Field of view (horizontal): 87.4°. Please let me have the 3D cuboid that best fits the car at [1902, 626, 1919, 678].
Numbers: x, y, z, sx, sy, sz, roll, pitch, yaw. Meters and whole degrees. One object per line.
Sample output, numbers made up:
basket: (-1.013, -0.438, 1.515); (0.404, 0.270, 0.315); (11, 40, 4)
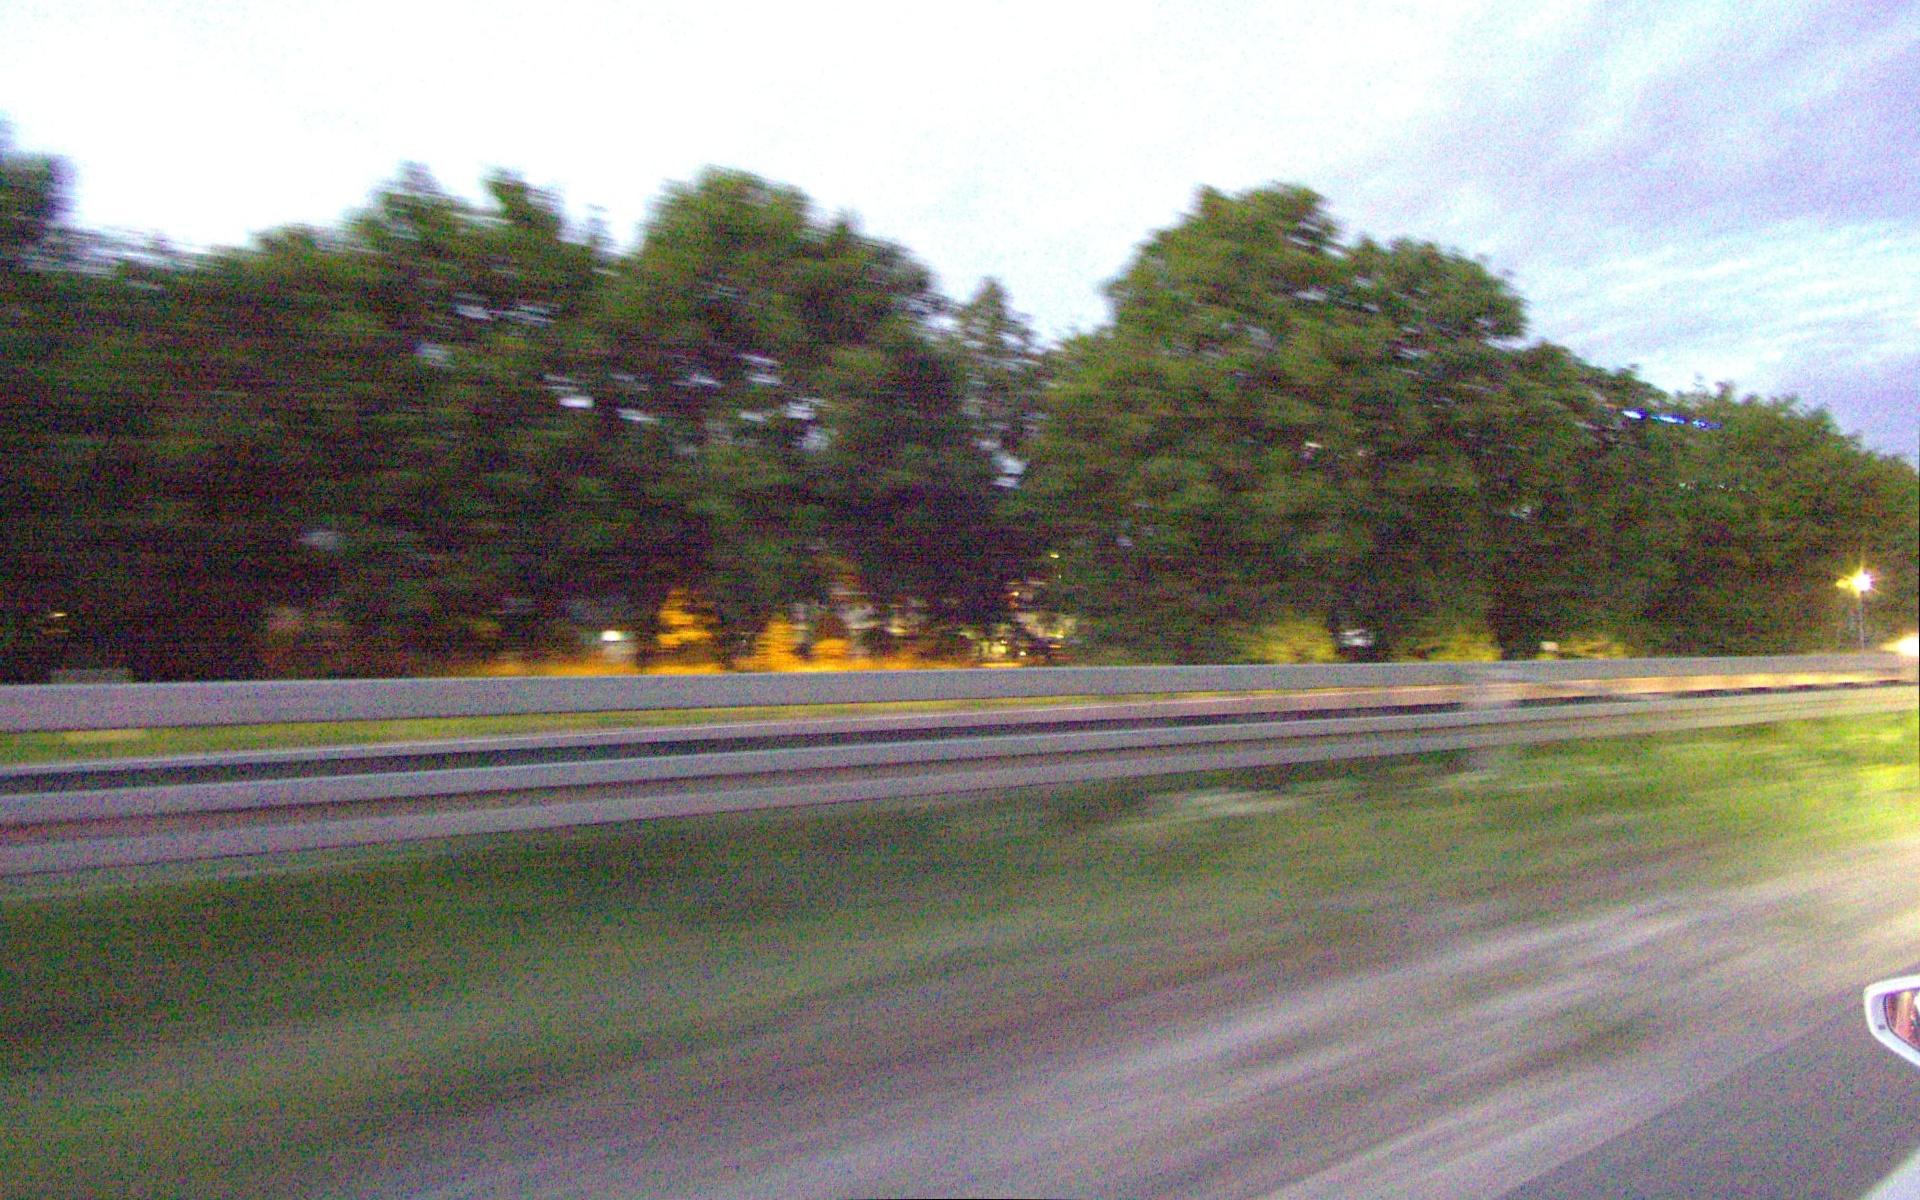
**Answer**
car: (32.431, 1.659, 32.463); (4.254, 1.644, 1.694); (1, -1, -29)
